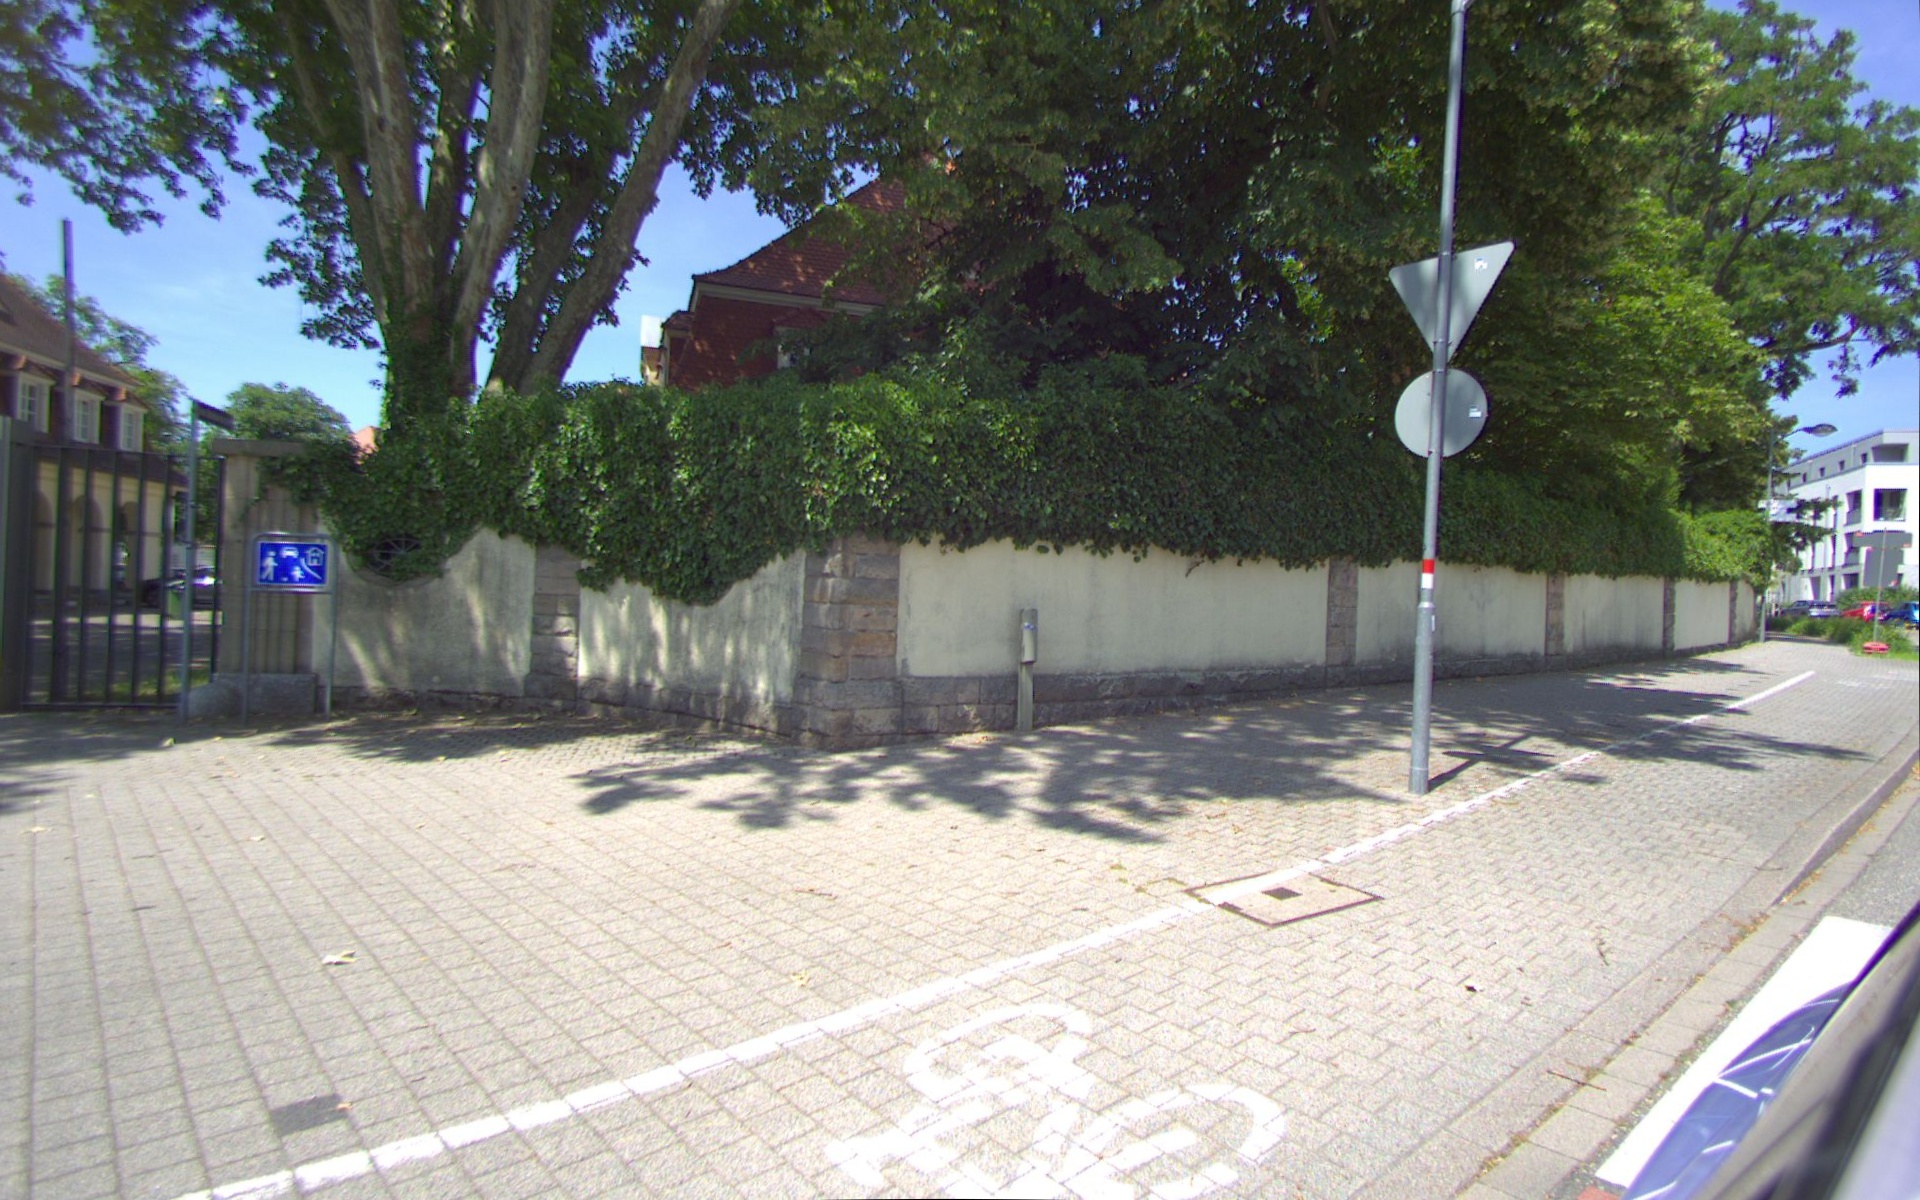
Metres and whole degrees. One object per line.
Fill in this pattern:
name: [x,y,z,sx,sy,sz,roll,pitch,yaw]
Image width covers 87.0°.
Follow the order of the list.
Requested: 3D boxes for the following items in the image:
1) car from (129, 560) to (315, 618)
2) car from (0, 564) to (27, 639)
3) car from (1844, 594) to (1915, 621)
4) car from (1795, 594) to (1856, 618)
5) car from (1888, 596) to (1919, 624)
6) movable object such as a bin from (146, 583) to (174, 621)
car: [-24.053,-0.353,33.179,4.407,1.420,2.004,6,0,-14]
car: [-20.470,-0.150,18.572,4.407,1.420,2.004,6,0,-14]
car: [52.888,0.412,58.295,1.685,1.431,3.698,1,1,19]
car: [55.045,0.336,64.452,1.685,1.431,3.698,1,1,19]
car: [50.876,0.523,53.222,1.685,1.431,3.698,1,1,19]
movable object such as a bin: [-21.638,0.046,27.371,0.526,1.021,0.529,1,1,45]
